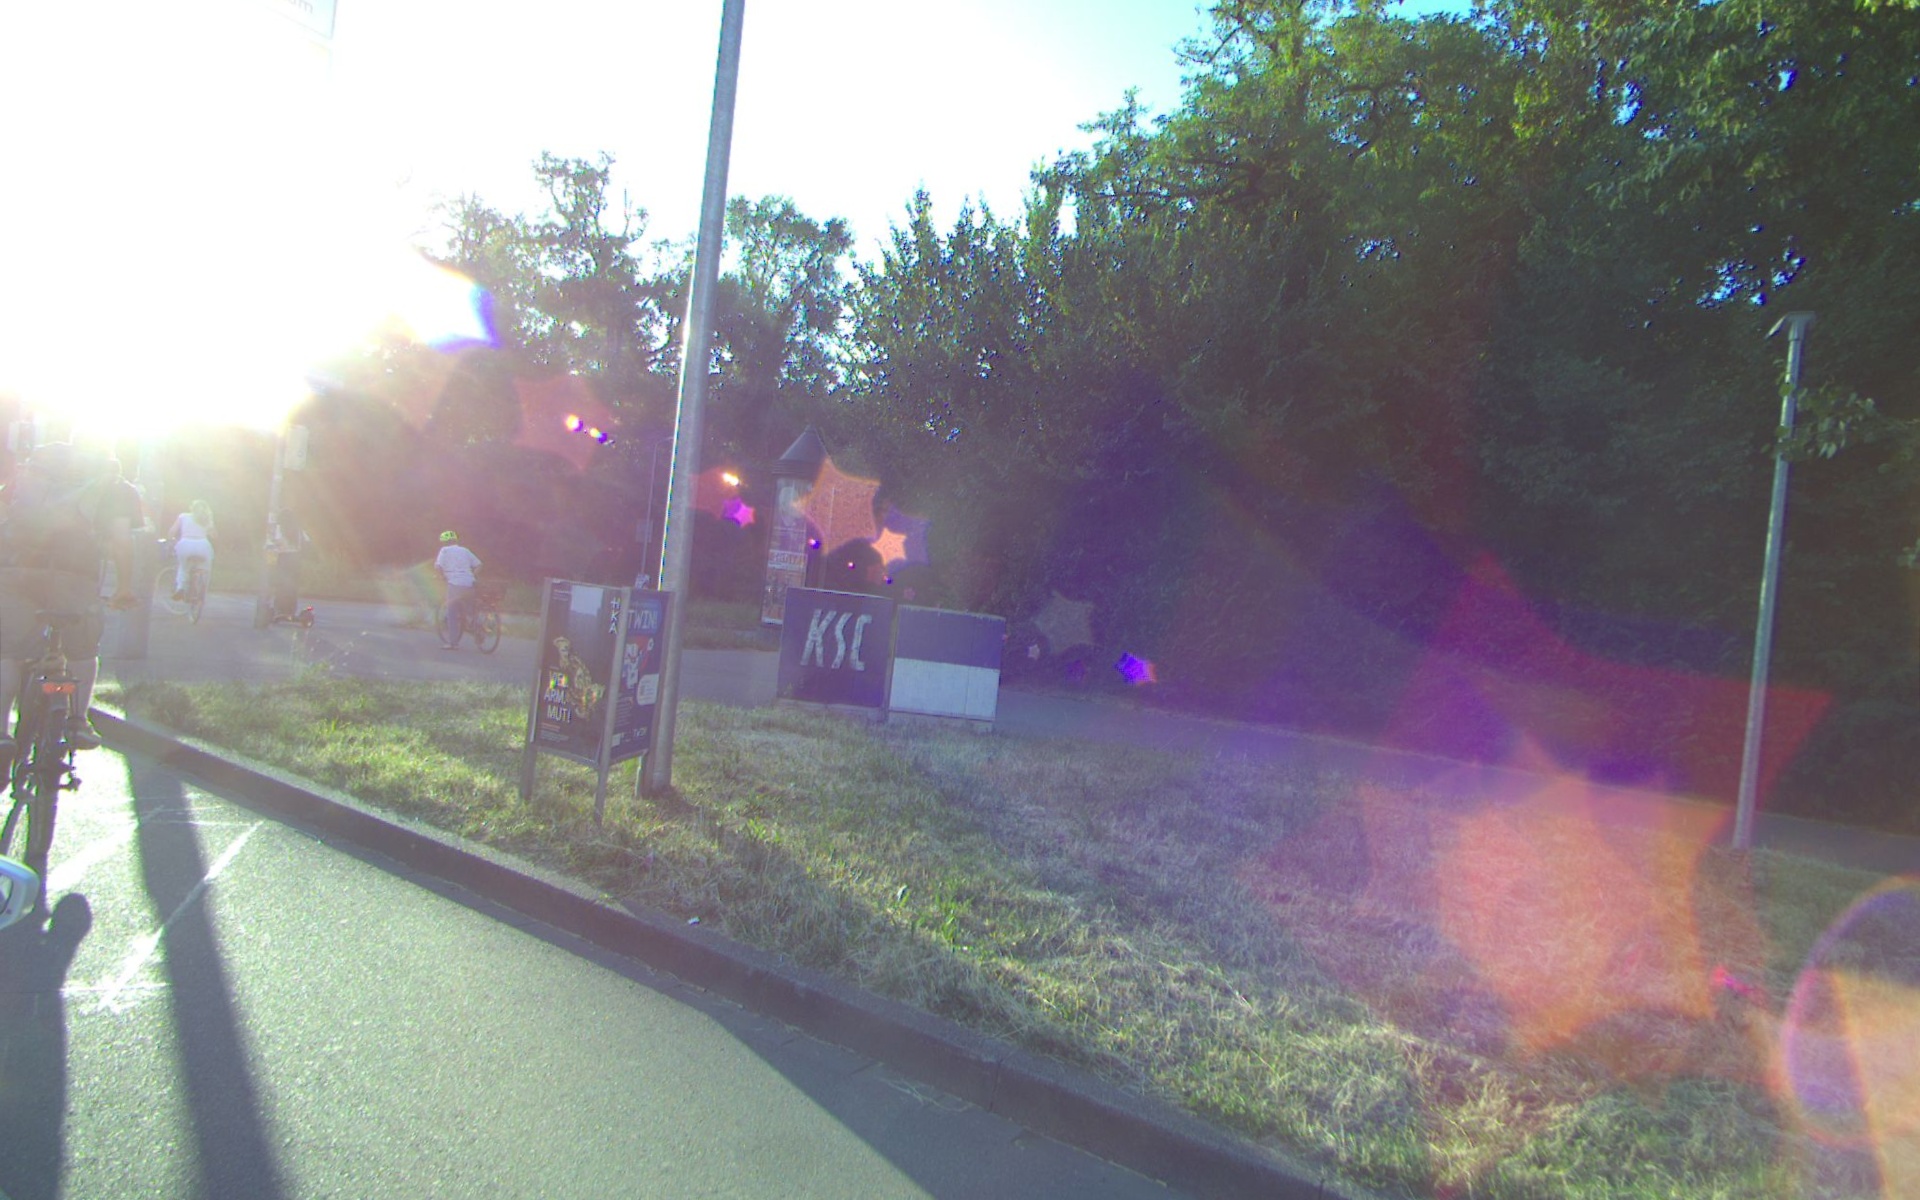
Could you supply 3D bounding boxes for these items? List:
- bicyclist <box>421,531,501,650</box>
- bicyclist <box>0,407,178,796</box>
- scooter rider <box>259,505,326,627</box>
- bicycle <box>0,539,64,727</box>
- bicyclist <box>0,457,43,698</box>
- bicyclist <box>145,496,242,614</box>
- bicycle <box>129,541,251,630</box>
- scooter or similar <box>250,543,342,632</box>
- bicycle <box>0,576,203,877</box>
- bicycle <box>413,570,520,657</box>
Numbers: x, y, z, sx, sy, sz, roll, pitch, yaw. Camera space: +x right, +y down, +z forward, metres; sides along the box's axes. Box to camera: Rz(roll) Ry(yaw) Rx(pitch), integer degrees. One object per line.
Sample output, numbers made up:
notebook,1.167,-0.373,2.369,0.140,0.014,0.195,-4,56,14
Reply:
bicyclist,-7.131,-0.135,14.368,0.885,1.589,0.553,7,1,38
bicyclist,-4.354,0.005,4.771,0.786,1.687,0.698,7,-1,38
scooter rider,-10.240,-0.519,15.431,0.497,1.788,0.566,6,0,33
bicycle,-6.862,0.139,6.804,1.853,1.151,0.614,7,0,32
bicyclist,-6.863,-0.197,6.821,0.895,1.605,0.604,7,0,32
bicyclist,-10.890,-0.633,14.293,0.843,1.536,0.760,7,0,36
bicycle,-10.980,-0.220,14.324,1.985,1.019,0.771,7,0,36
scooter or similar,-10.127,-0.202,15.337,1.399,1.204,0.562,6,0,33
bicycle,-4.250,0.490,4.639,1.798,1.075,0.698,6,-1,38
bicycle,-7.019,0.183,14.260,1.775,1.027,0.563,7,0,38
